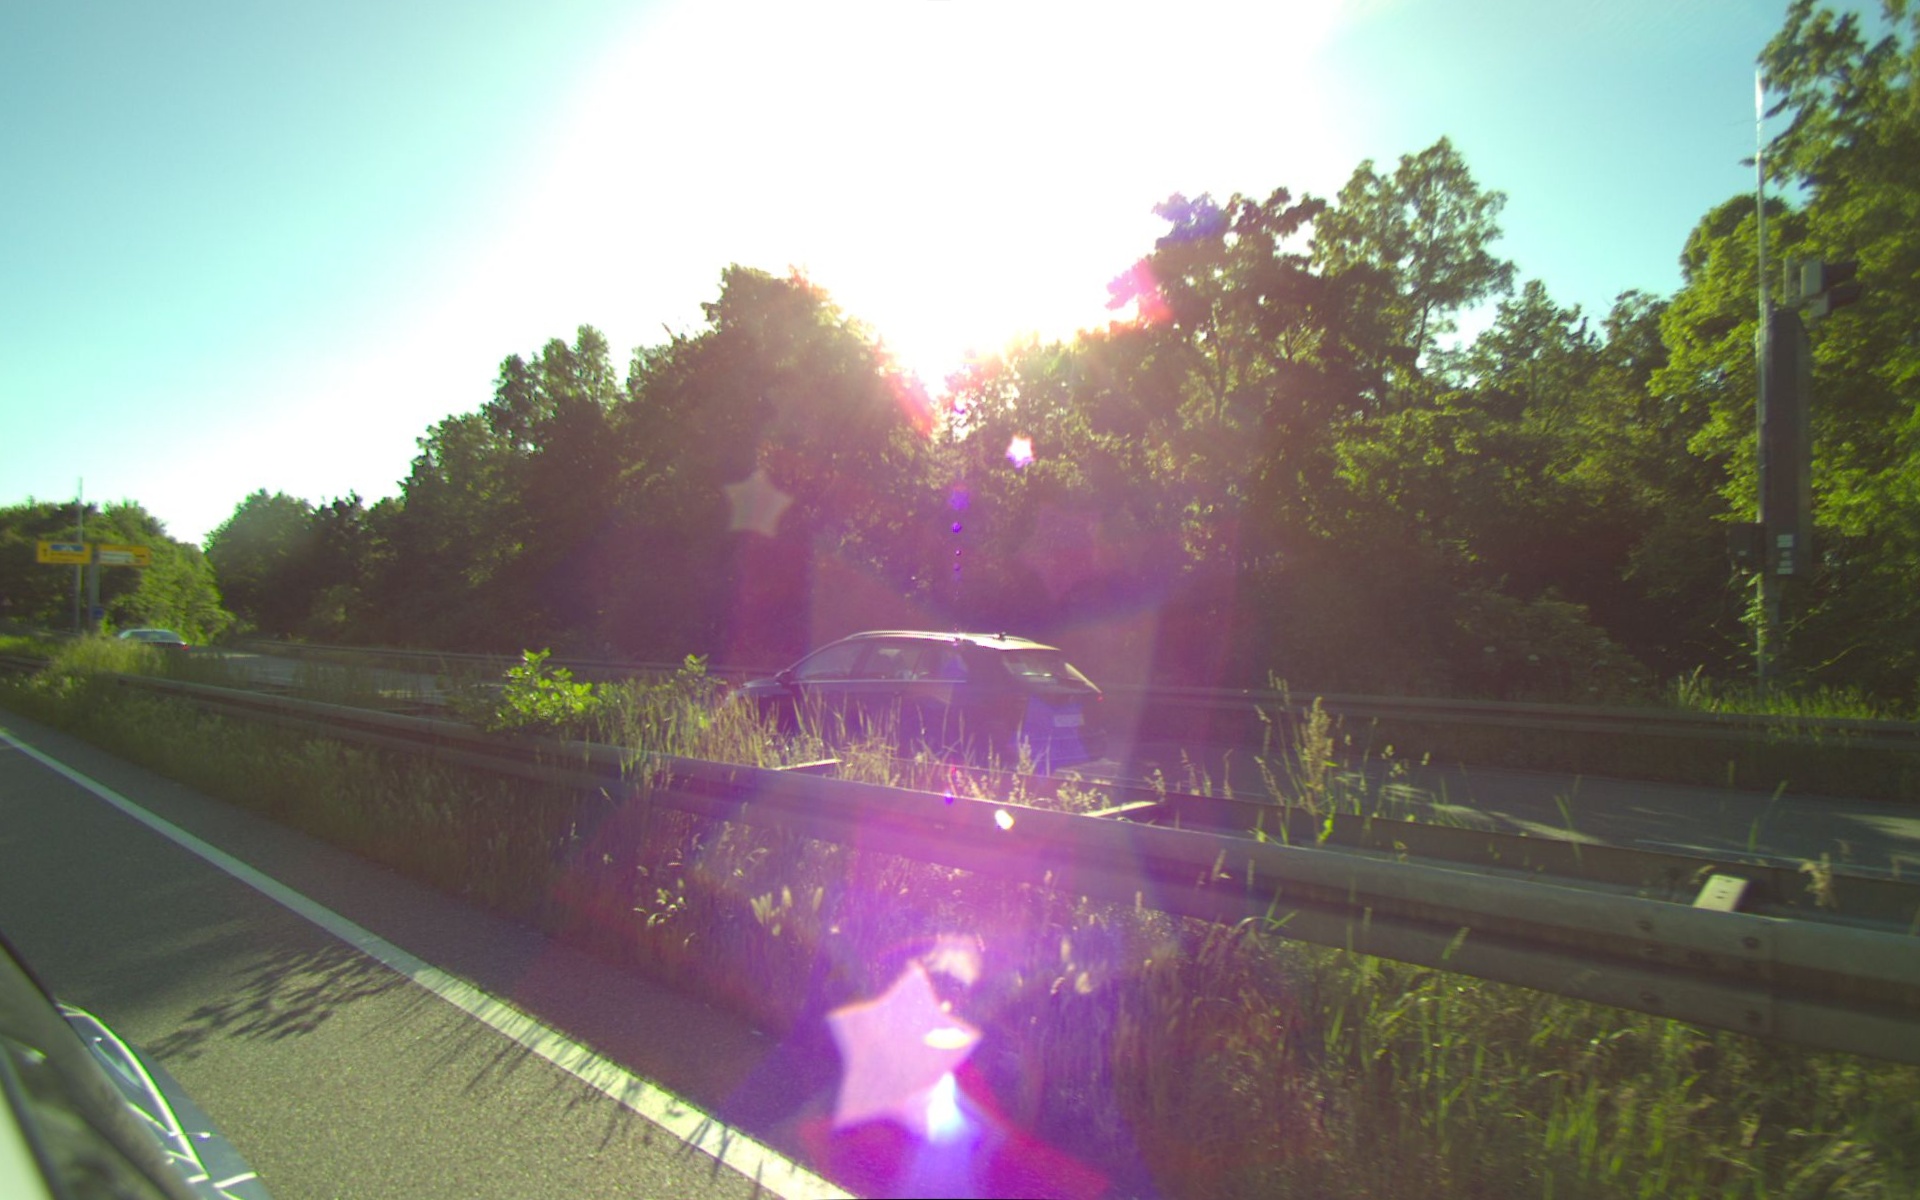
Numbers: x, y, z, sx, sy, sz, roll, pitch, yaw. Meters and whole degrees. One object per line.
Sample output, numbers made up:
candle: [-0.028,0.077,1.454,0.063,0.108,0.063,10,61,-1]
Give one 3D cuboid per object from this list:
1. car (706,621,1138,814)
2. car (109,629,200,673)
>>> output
car: [-0.590,1.011,10.283,4.608,1.542,1.601,-2,-3,43]
car: [-27.721,1.702,34.783,4.552,1.414,1.762,-2,-3,43]
